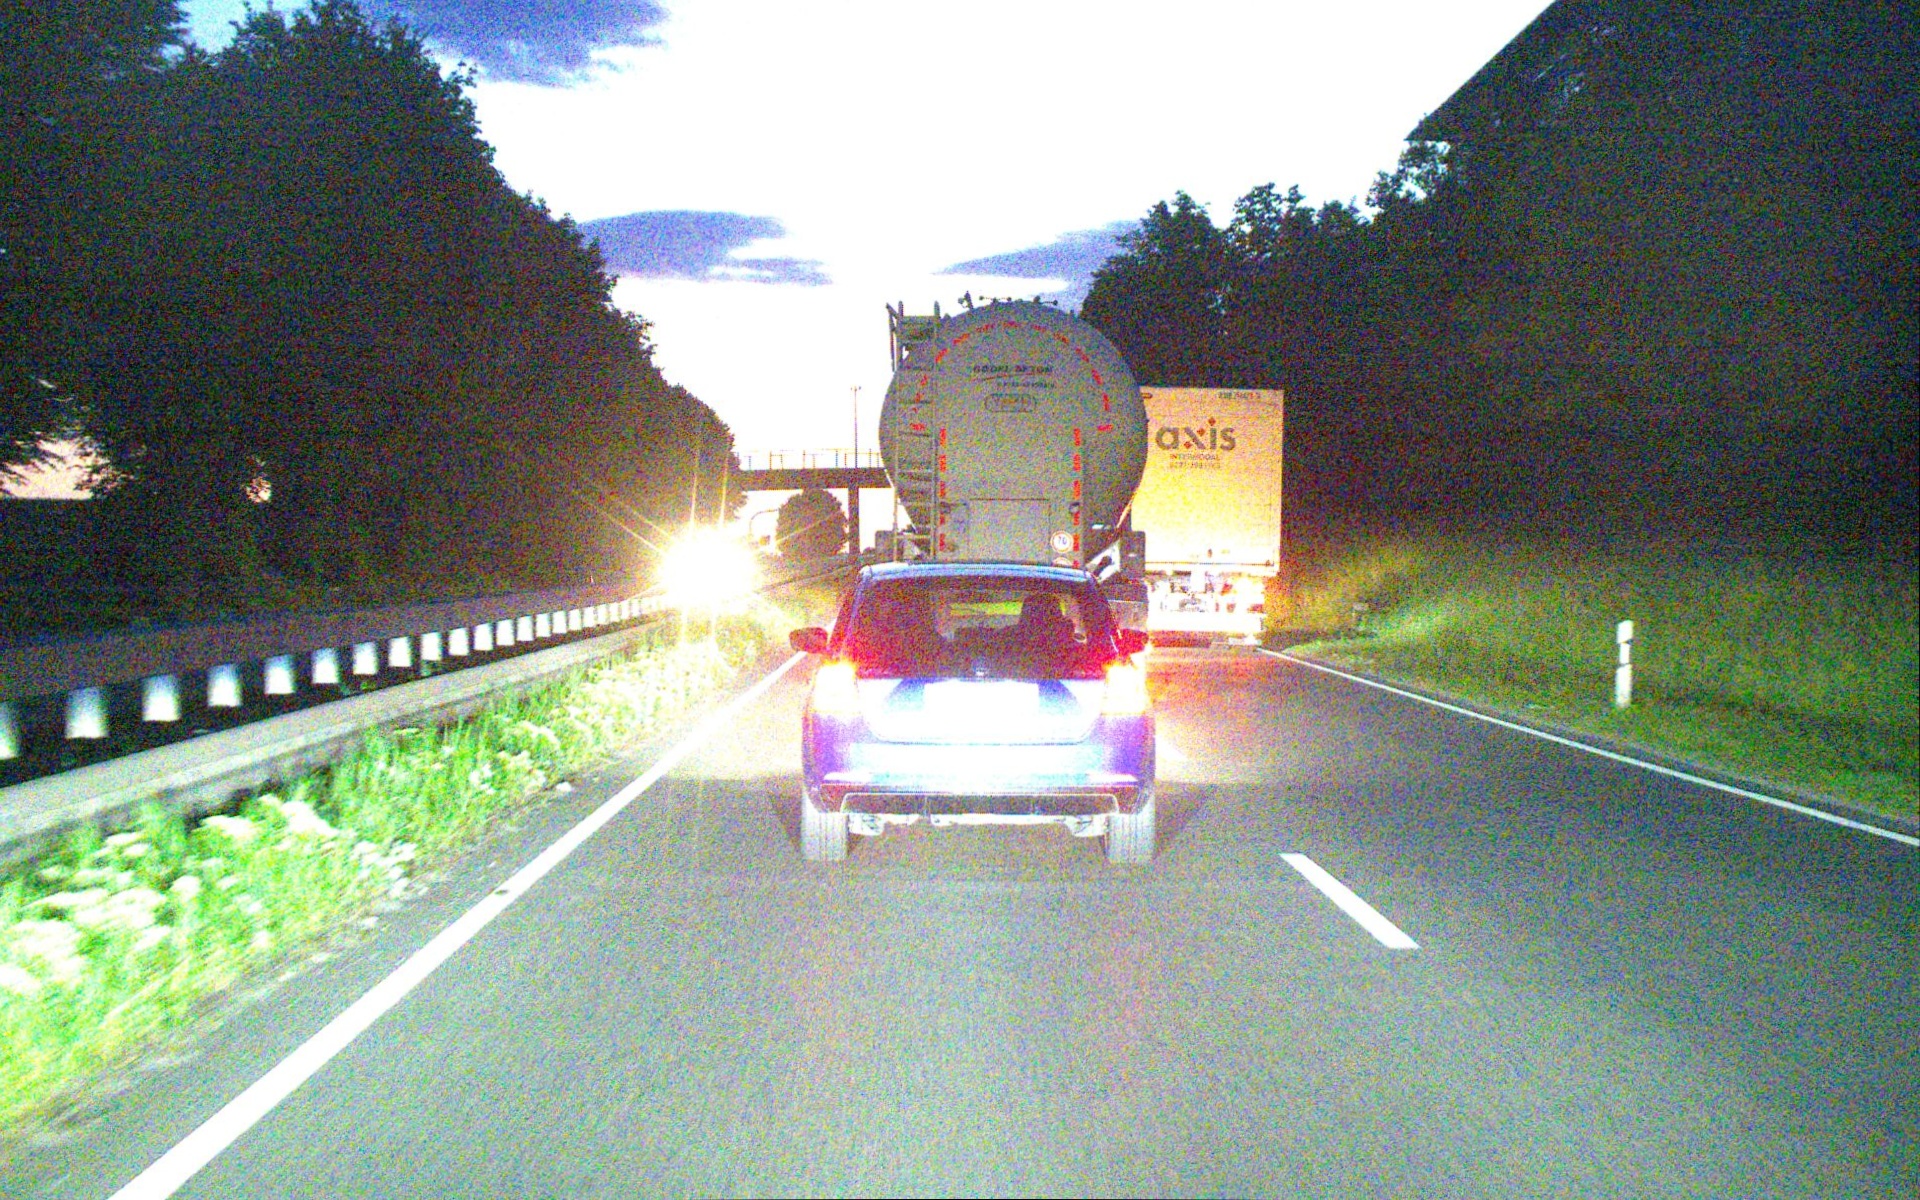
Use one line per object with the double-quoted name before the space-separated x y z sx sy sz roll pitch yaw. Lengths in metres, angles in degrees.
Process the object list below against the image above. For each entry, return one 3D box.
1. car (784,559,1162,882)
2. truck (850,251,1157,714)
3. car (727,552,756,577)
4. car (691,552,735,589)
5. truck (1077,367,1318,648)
"car" 0.035 0.527 17.533 1.695 1.447 3.914 1 1 -1
"truck" 0.299 -1.111 37.241 2.687 4.092 13.142 1 1 -1
"car" -13.504 -2.219 212.506 1.617 1.502 3.869 1 1 -1
"car" -11.005 -1.323 153.185 1.682 1.582 4.167 1 1 -1
"truck" 3.702 -1.419 56.743 2.883 4.092 12.684 1 1 -1
